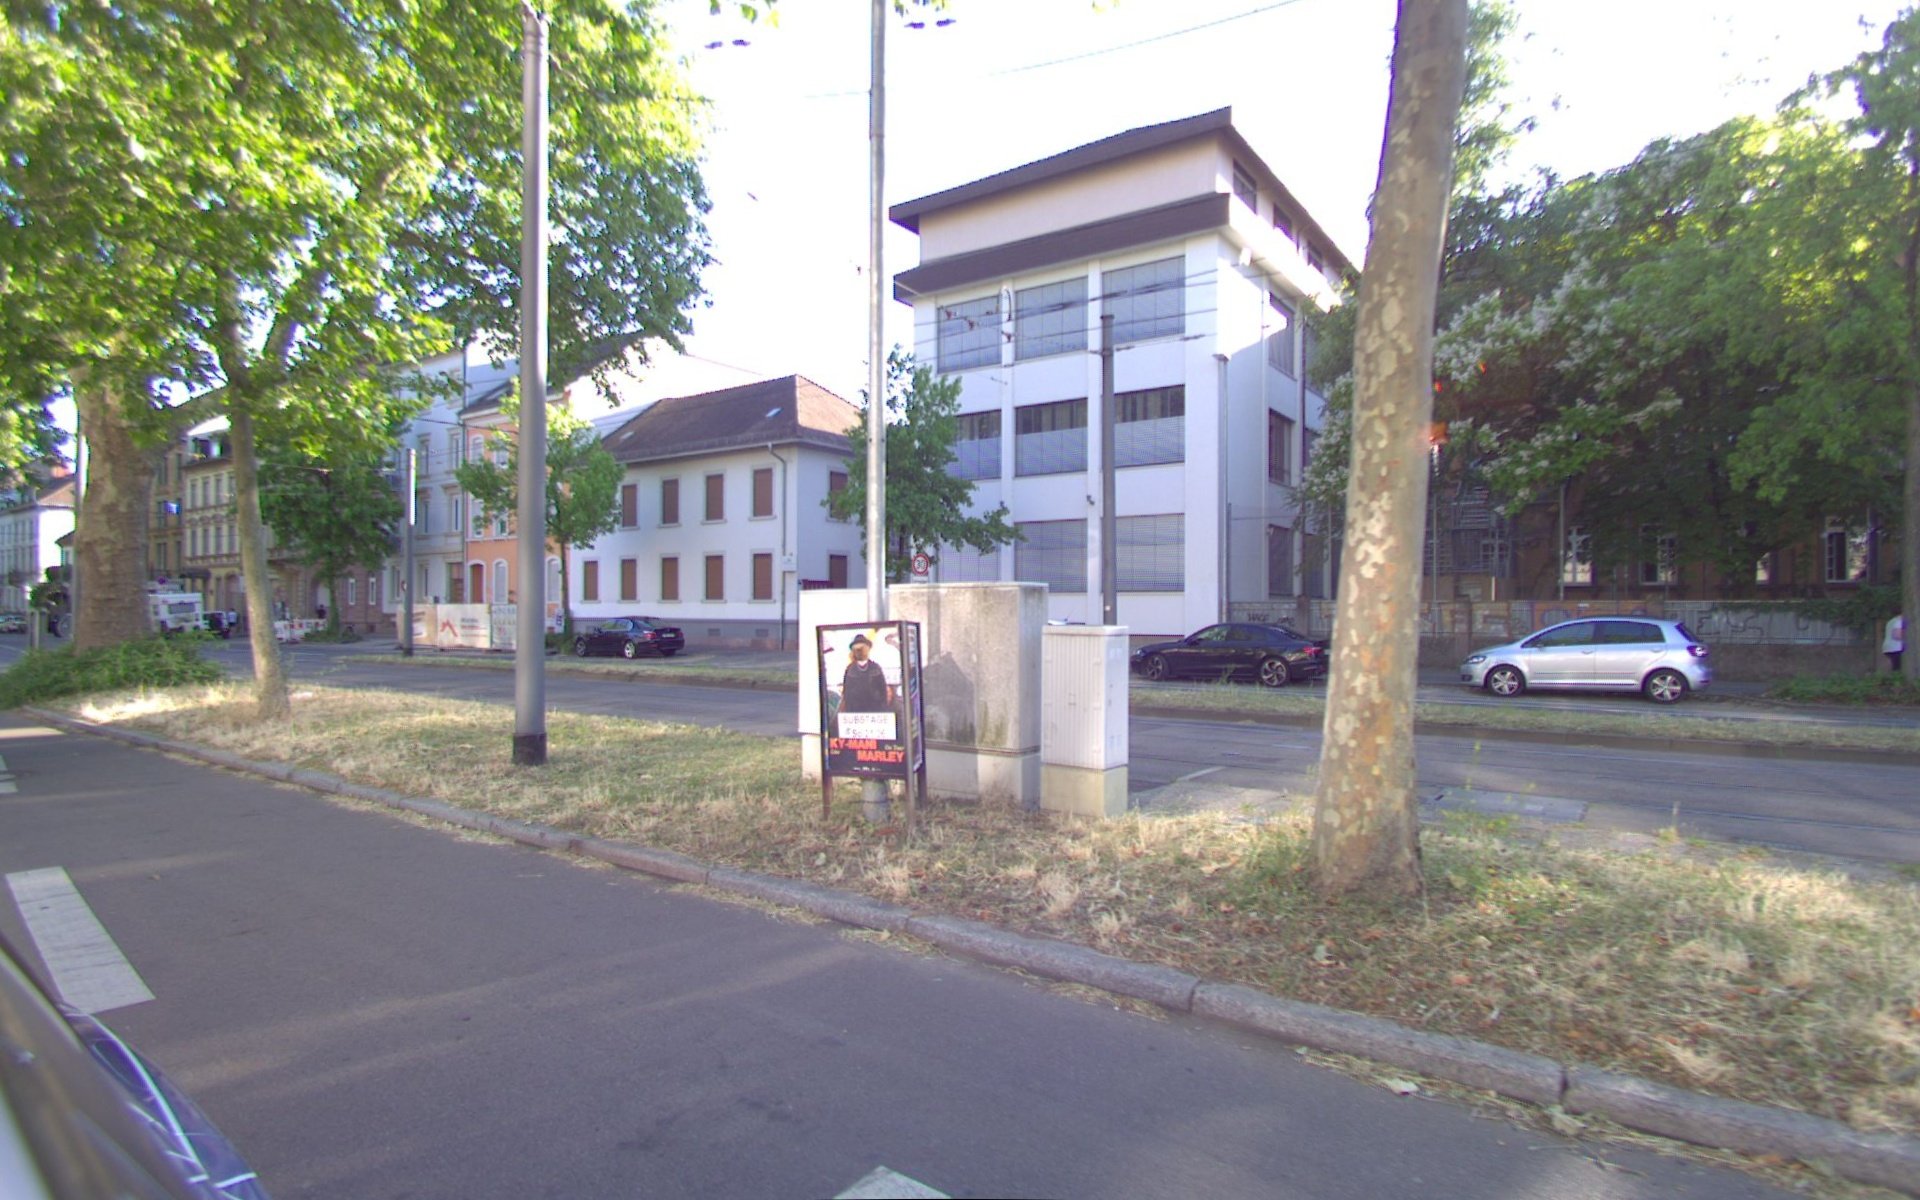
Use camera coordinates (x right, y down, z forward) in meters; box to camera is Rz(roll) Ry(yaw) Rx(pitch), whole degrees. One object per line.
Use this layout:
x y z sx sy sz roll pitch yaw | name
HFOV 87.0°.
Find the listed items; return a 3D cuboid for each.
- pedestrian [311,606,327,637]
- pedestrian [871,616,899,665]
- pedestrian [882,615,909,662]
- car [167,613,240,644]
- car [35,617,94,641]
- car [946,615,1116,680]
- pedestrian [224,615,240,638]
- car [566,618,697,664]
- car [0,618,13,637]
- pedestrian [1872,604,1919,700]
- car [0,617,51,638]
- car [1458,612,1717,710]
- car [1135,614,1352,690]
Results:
-37.537 1.272 59.263 0.703 1.823 0.555 -1 -2 32 | pedestrian
-2.401 1.275 32.304 0.709 1.540 0.532 -1 -1 29 | pedestrian
-2.127 1.249 33.264 0.710 1.540 0.531 -1 -2 35 | pedestrian
-45.311 1.666 60.620 4.520 1.686 2.065 -1 1 34 | car
-64.530 2.075 72.899 4.504 1.551 2.065 -1 1 34 | car
1.853 1.189 26.799 3.986 1.501 2.065 -1 1 34 | car
-47.804 1.749 66.451 0.613 1.540 0.634 -1 -1 31 | pedestrian
-11.832 1.427 36.359 4.567 1.481 2.065 -1 1 34 | car
-82.330 2.353 85.839 4.027 1.551 2.065 -1 1 34 | car
16.852 0.915 18.160 0.630 1.677 0.563 -1 1 34 | pedestrian
-74.895 2.182 80.885 5.091 1.551 2.065 -1 1 34 | car
12.096 1.088 19.708 4.087 1.631 2.065 -1 1 34 | car
6.523 1.117 23.426 4.445 1.513 2.065 -1 1 34 | car
